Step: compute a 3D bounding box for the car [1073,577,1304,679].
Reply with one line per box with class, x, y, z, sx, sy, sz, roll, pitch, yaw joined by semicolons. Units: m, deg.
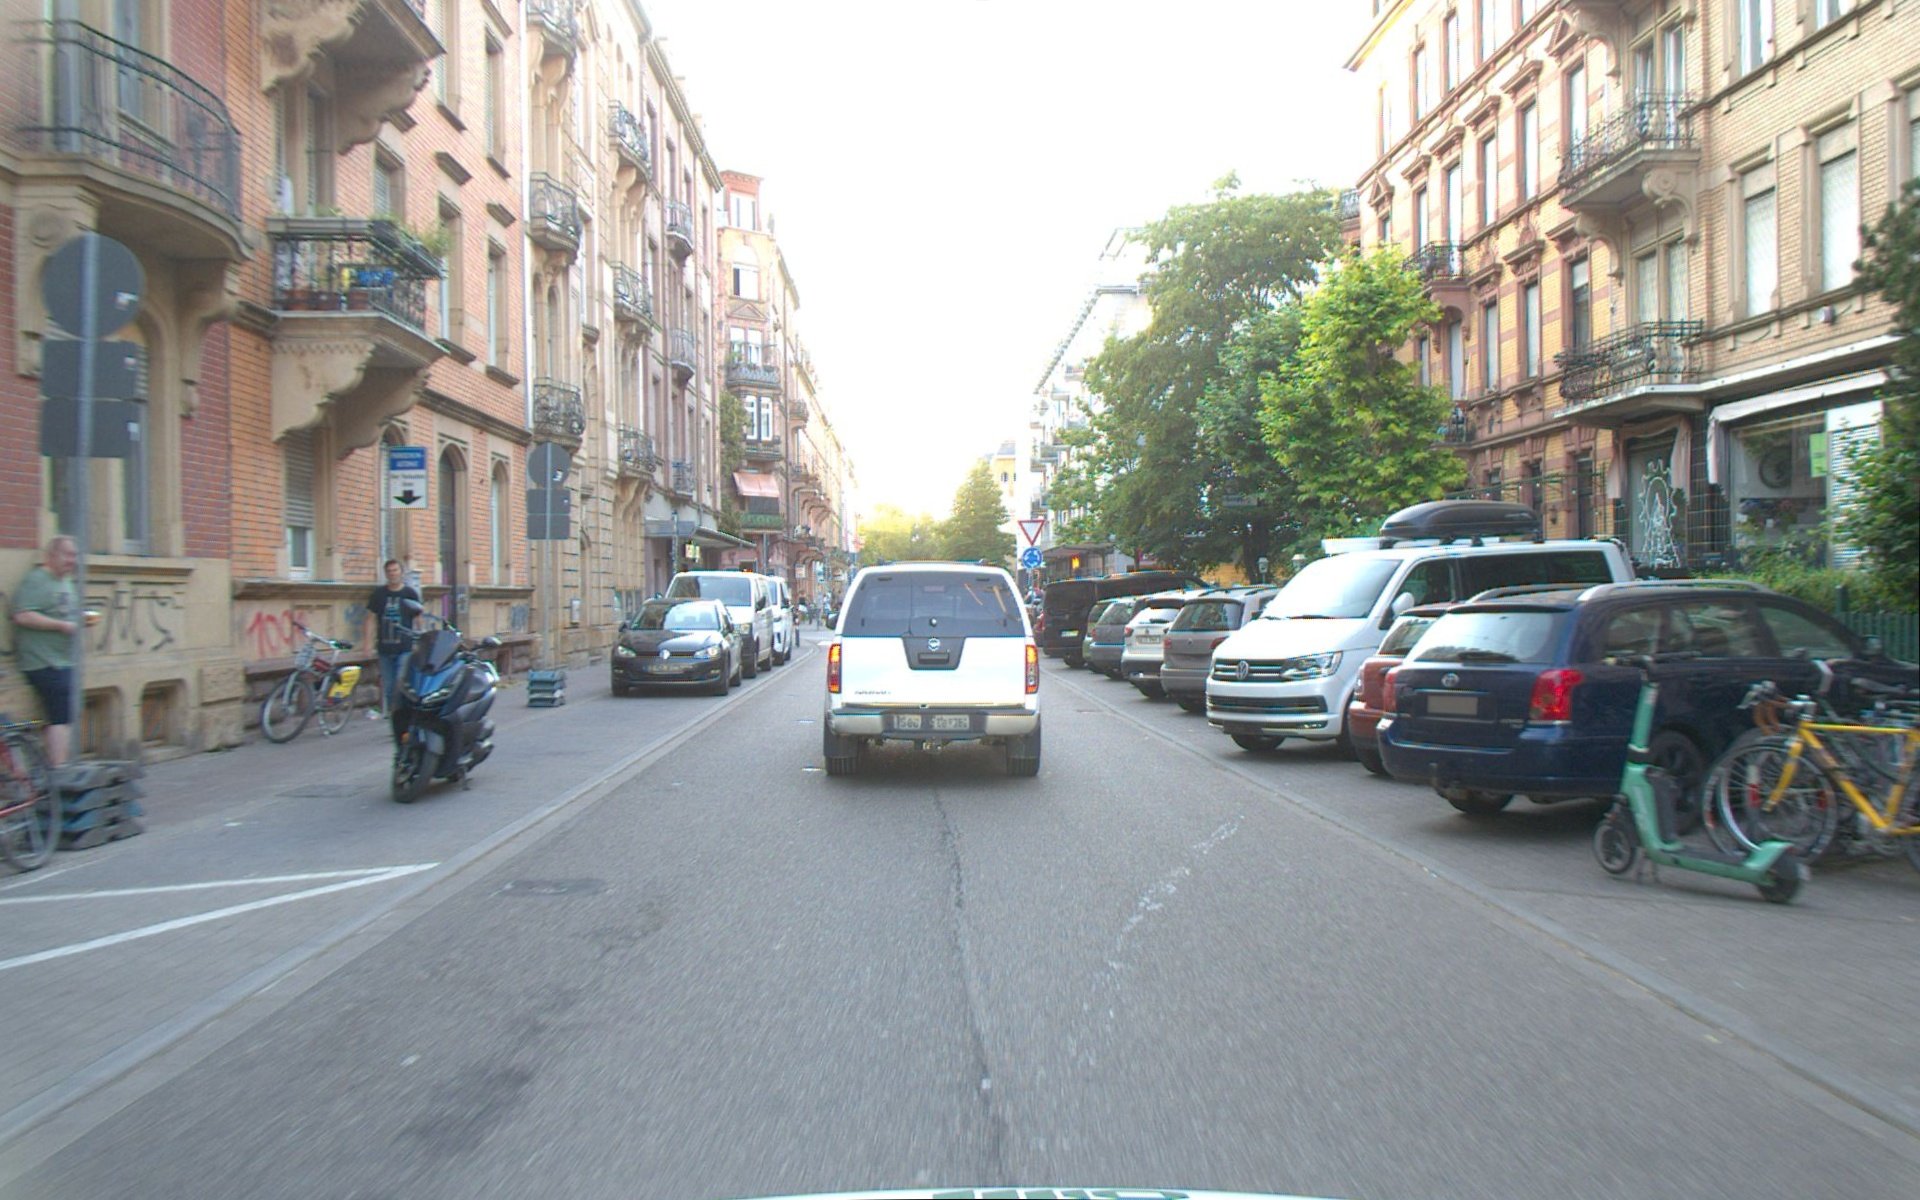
car;4.271;0.487;30.763;4.060;1.578;1.797;-4;1;-34

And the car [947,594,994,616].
car;0.902;0.449;141.561;3.907;1.780;1.839;1;-1;-3

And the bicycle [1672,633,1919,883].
bicycle;4.573;0.769;8.372;0.490;1.156;1.793;-3;1;-33

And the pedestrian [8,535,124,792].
pedestrian;-6.518;0.452;12.080;0.453;1.821;0.642;1;-1;2

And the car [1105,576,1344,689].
car;4.582;0.519;28.389;4.071;1.618;1.792;-4;1;-40

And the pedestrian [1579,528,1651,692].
pedestrian;8.331;0.127;21.047;0.612;2.049;0.654;1;-1;-8

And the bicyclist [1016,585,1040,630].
bicyclist;2.971;0.336;72.247;0.767;1.978;0.840;0;-1;27

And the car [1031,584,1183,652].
car;4.049;0.466;45.382;4.001;1.656;1.673;-3;2;-34

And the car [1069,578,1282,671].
car;4.388;0.470;33.447;4.060;1.578;1.797;-4;1;-34

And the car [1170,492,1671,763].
car;4.698;0.183;16.721;4.867;2.403;1.982;-2;0;-28

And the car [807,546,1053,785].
car;-0.131;0.533;15.379;1.897;1.842;5.002;1;-1;2

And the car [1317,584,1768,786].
car;5.047;0.647;14.176;3.823;1.433;1.737;-2;-1;-35

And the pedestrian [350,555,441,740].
pedestrian;-5.784;0.475;16.982;0.669;1.842;0.960;1;-1;-7

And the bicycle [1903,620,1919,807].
bicycle;6.564;0.702;9.694;0.489;1.156;1.797;-3;1;-29

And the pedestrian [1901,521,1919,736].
pedestrian;8.178;0.226;13.408;0.670;1.780;0.827;-3;-1;15

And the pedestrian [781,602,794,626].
pedestrian;-8.706;0.721;83.455;0.636;1.212;0.539;1;-1;-6

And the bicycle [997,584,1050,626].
bicycle;3.130;0.241;82.246;2.593;2.049;0.637;1;-1;-1

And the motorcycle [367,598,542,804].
motorcycle;-3.781;0.714;12.555;0.670;1.429;2.014;1;-1;1

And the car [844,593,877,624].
car;-5.742;0.497;95.685;1.798;1.780;3.998;1;-1;-3

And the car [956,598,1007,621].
car;1.675;0.765;129.488;3.907;1.780;1.839;1;-1;-3

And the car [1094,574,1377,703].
car;4.220;0.543;25.164;4.059;1.618;1.798;-4;1;-33

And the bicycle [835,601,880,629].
bicycle;-4.461;0.651;71.903;1.894;1.192;0.595;1;-1;-10

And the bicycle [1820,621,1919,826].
bicycle;5.944;0.718;9.440;0.491;1.156;1.791;-3;1;-36

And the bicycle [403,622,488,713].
bicycle;-6.708;0.857;21.643;0.736;1.120;2.021;1;-1;-8

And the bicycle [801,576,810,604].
bicycle;-8.283;-0.512;88.687;0.415;1.468;1.902;1;-1;-6

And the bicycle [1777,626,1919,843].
bicycle;5.517;0.744;9.107;0.491;1.156;1.791;-3;1;-36

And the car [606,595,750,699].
car;-4.360;0.684;26.138;1.800;1.496;4.169;0;0;-4

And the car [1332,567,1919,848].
car;4.599;0.599;11.159;3.811;1.542;1.831;-2;0;-28

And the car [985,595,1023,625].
car;2.377;0.544;89.696;1.798;1.569;3.998;1;-1;-3

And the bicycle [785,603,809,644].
bicycle;-4.747;0.692;48.303;0.461;1.162;1.785;1;-1;2

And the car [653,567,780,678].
car;-4.617;0.400;31.945;1.799;1.955;4.844;0;0;-1

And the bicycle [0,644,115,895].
bicycle;-4.795;0.823;8.073;0.403;1.180;1.837;1;-1;-1

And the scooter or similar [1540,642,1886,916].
scooter or similar;3.699;0.824;8.244;0.646;1.170;1.472;-3;1;-25

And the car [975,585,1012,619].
car;1.975;0.157;98.468;1.904;1.967;3.998;1;-1;-3

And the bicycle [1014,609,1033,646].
bicycle;1.856;0.801;48.693;0.357;1.082;1.550;1;-1;-5

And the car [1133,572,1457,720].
car;4.540;0.554;22.255;4.116;1.618;1.864;-4;2;-33

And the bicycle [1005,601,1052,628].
bicycle;3.000;0.633;72.235;1.892;1.192;0.840;0;-1;27

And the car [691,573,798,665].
car;-4.883;0.407;38.069;2.067;1.955;5.022;0;0;-3

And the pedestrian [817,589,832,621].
pedestrian;-7.191;0.275;87.917;0.782;1.649;0.944;1;-1;-4

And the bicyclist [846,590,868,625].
bicyclist;-4.482;0.327;71.905;0.855;1.492;0.574;1;-1;-12

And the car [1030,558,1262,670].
car;4.200;0.269;36.780;5.388;2.108;1.905;-4;1;-41

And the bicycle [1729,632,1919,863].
bicycle;5.072;0.768;8.749;0.491;1.156;1.791;-3;1;-36

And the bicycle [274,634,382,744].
bicycle;-6.421;0.879;16.884;0.438;1.048;1.740;1;-1;-1
